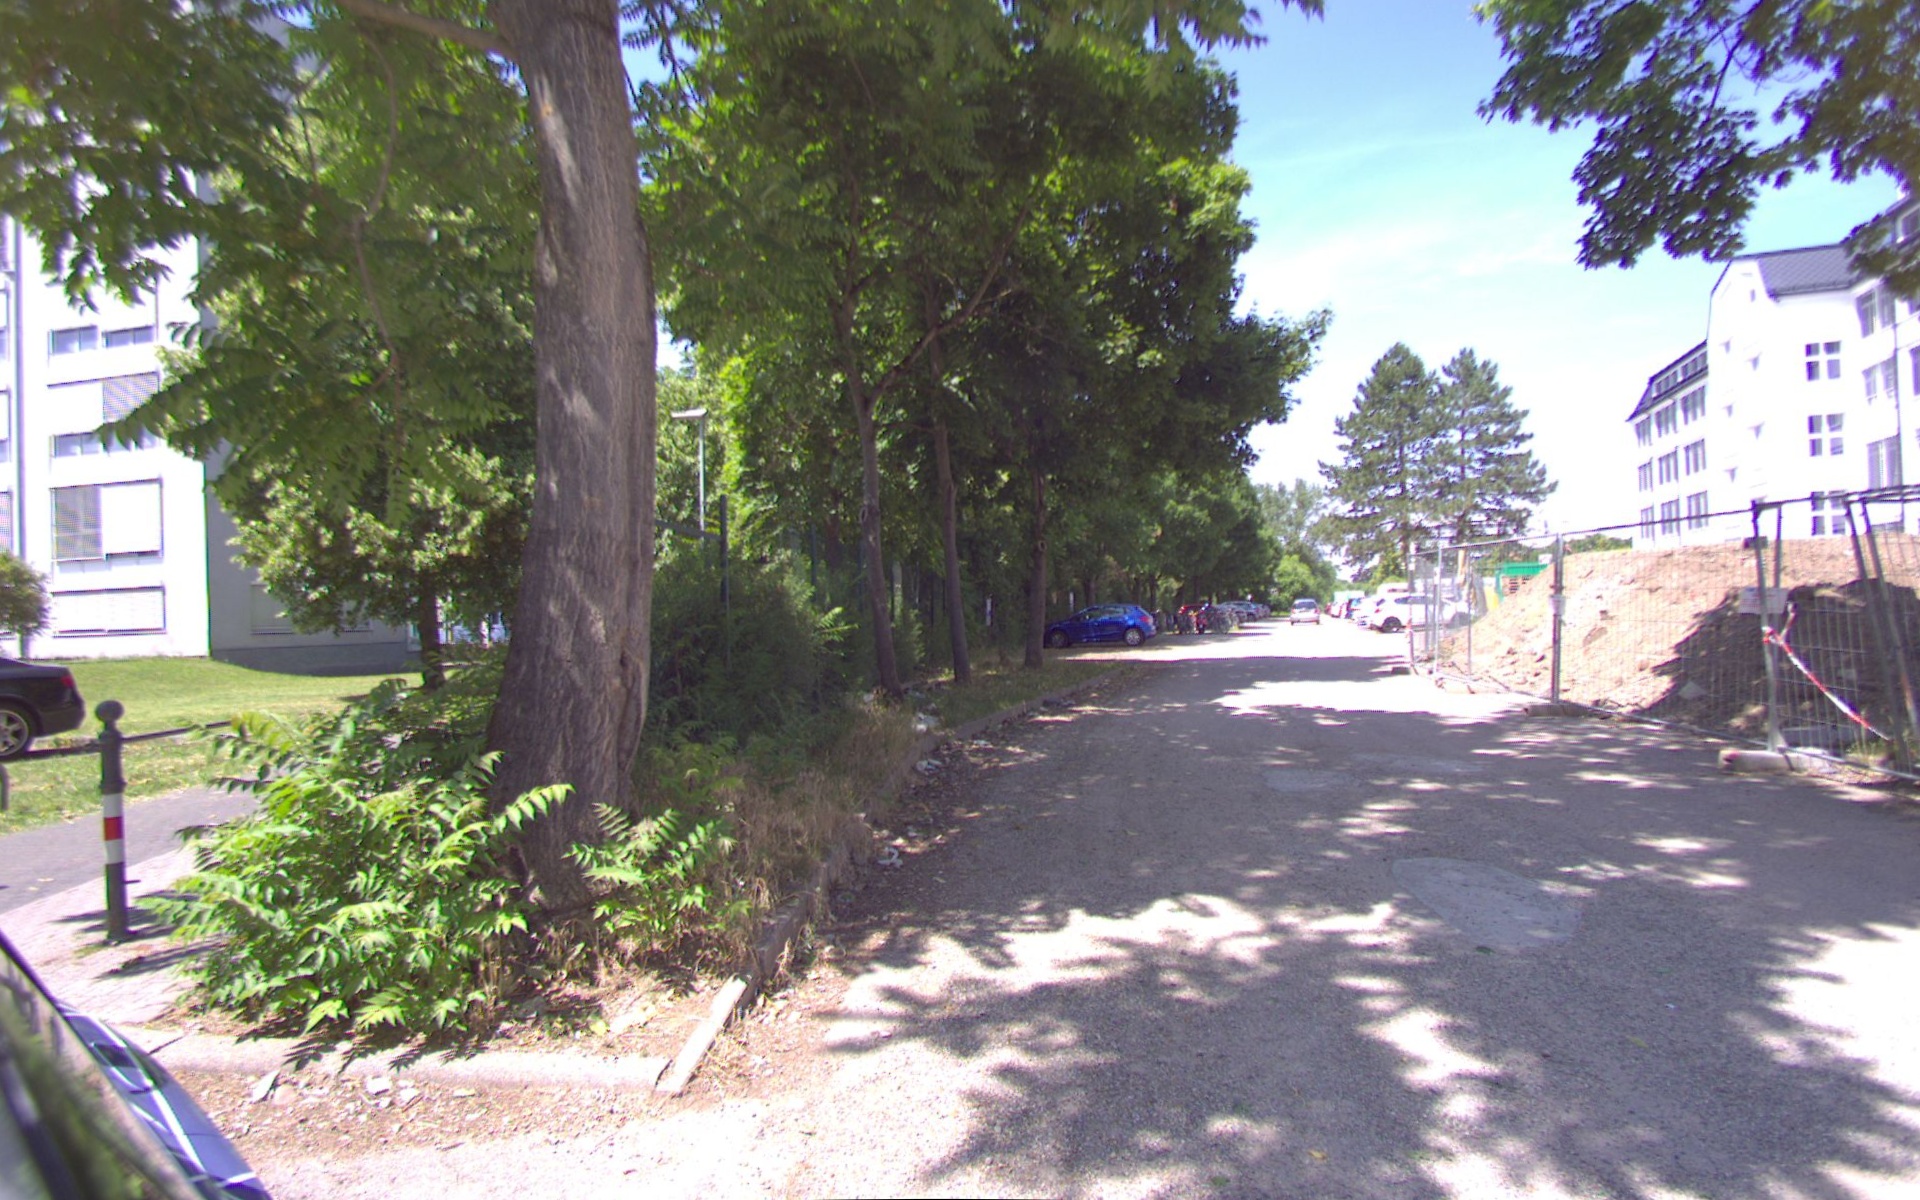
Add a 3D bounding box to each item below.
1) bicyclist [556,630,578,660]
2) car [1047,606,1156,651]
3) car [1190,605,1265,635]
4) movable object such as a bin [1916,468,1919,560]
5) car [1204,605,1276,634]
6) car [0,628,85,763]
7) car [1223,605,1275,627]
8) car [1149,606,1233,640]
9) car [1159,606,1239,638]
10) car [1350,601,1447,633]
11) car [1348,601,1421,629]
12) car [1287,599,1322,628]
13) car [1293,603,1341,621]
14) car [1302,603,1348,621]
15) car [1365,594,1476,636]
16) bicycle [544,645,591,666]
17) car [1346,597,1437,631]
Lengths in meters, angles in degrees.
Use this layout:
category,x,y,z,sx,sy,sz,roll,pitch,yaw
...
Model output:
category,x,y,z,sx,sy,sz,roll,pitch,yaw
bicyclist,-14.615,1.676,37.627,0.514,1.053,0.518,-5,-3,22
car,4.849,0.967,34.519,3.519,1.432,1.576,-1,-1,14
car,13.508,1.032,51.164,3.594,1.425,1.382,-2,-1,16
movable object such as a bin,33.253,-2.421,32.311,1.988,4.405,5.678,-2,-1,23
car,14.713,1.038,53.265,3.594,1.425,1.382,-2,-1,16
car,-11.469,1.060,9.567,2.010,1.390,4.411,-4,-2,22
car,21.895,1.214,76.709,3.689,1.505,1.448,-1,-1,14
car,10.358,1.030,45.369,3.594,1.425,1.447,-2,-1,16
car,11.309,1.031,47.915,3.594,1.425,1.382,-2,-1,16
car,19.347,0.748,44.738,3.689,1.287,1.448,-1,-1,14
car,24.967,0.886,59.614,3.689,1.505,1.448,-1,-1,14
car,21.379,0.841,62.894,1.795,1.668,3.904,-2,-1,16
car,30.325,1.029,86.027,3.689,1.505,1.448,-1,-1,14
car,32.787,1.051,90.952,3.689,1.505,1.448,-1,-1,14
car,17.974,0.590,39.624,3.689,1.505,1.448,-1,-1,14
bicycle,-14.549,2.061,37.585,0.729,0.646,1.605,-5,-2,21
car,20.103,0.661,47.259,3.689,1.505,1.448,-1,-1,14
